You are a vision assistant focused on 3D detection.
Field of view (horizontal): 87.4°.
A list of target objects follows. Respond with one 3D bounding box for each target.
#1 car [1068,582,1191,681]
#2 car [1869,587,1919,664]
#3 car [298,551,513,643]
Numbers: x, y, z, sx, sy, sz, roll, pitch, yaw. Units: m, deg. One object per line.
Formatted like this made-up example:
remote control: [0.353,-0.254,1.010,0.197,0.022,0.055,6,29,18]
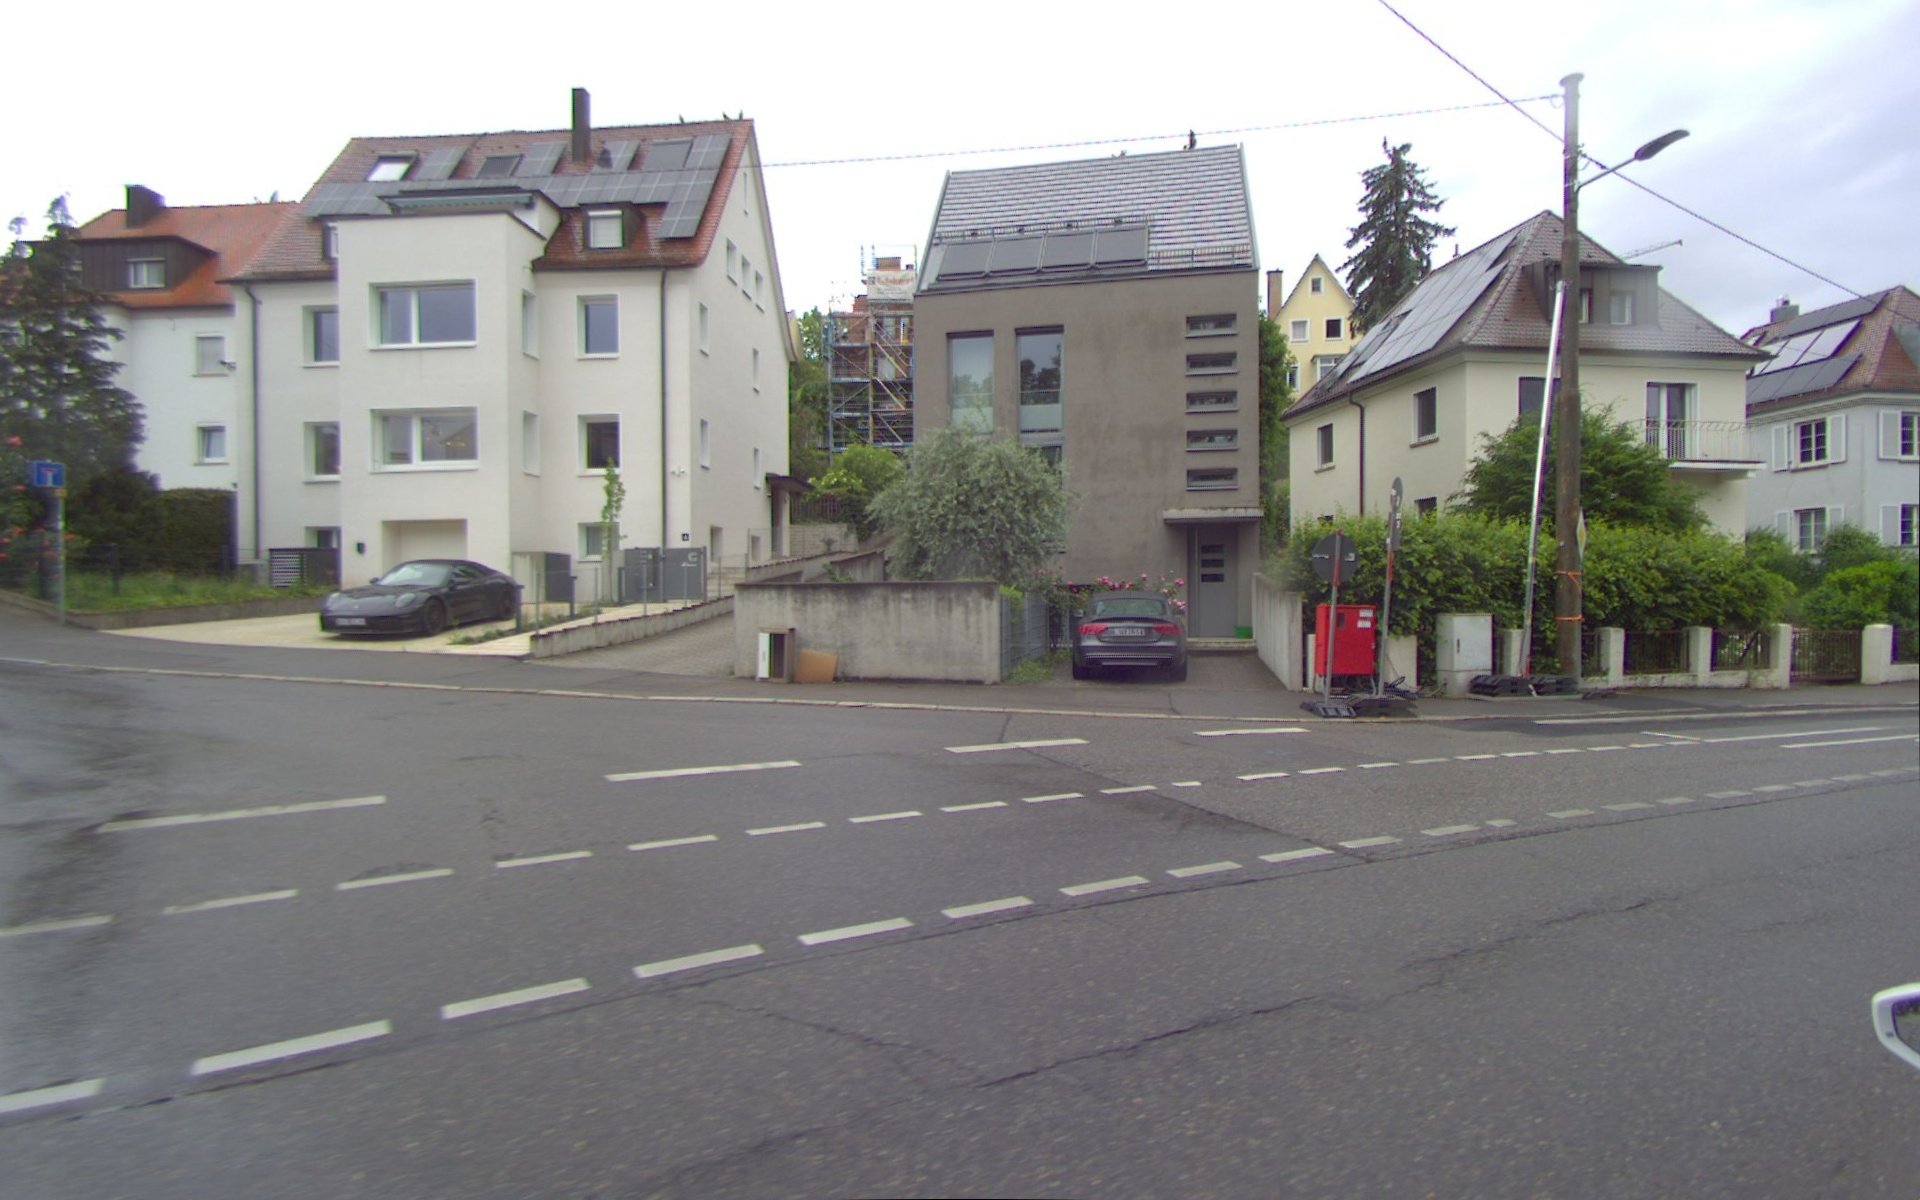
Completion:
car: [2.852,0.447,17.096,1.802,1.463,4.002,1,1,9]
car: [26.495,0.692,26.054,1.800,2.040,3.987,1,0,-15]
car: [-10.322,-0.074,19.058,1.700,1.528,3.820,1,1,5]
